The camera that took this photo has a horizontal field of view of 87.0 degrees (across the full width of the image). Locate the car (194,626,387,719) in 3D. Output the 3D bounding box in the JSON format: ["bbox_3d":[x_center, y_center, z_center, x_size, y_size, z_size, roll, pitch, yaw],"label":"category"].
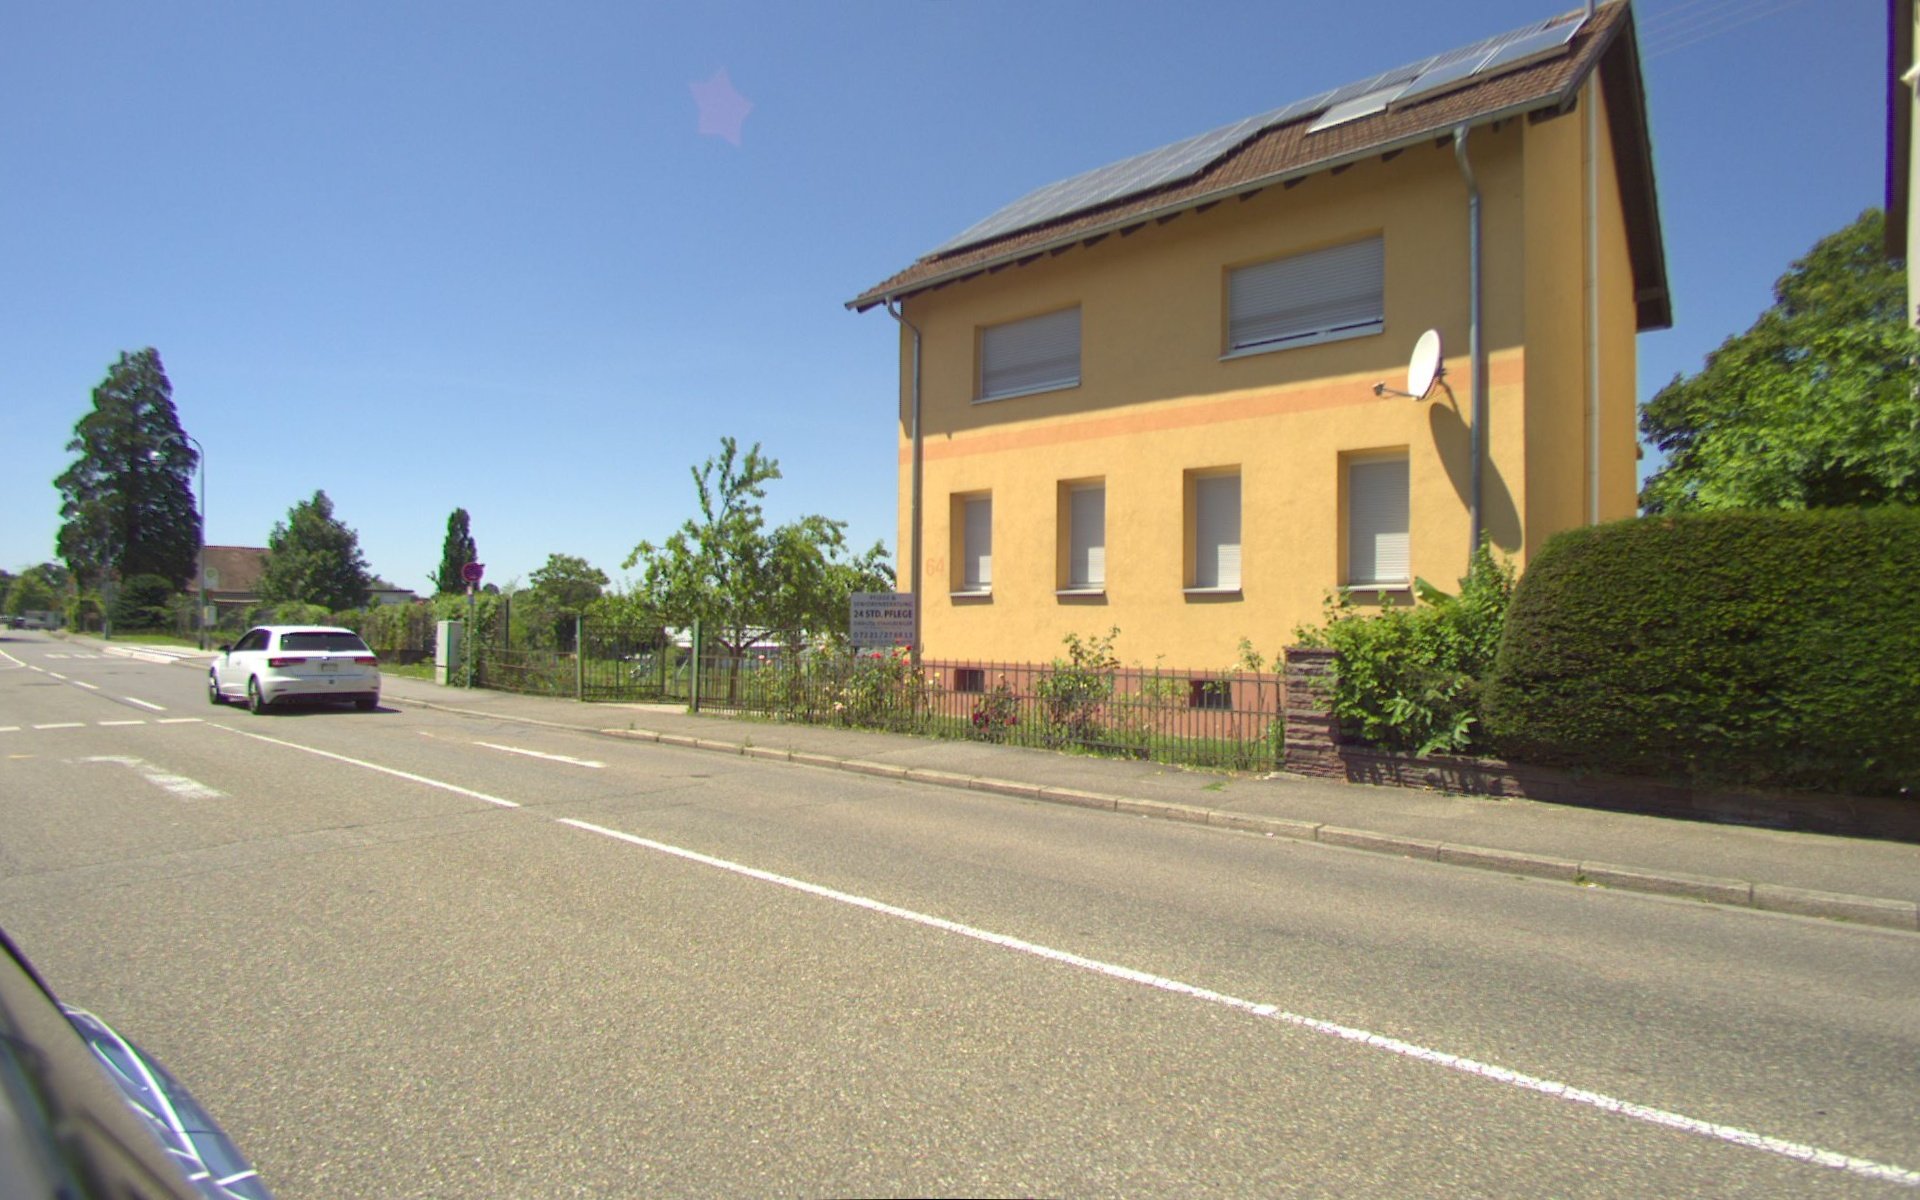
[{"bbox_3d":[-11.437,1.164,17.183,4.205,1.383,1.662,-1,-4,42],"label":"car"}]

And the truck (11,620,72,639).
[{"bbox_3d":[-112.485,3.623,123.937,6.201,2.258,2.611,0,-2,16],"label":"truck"}]
